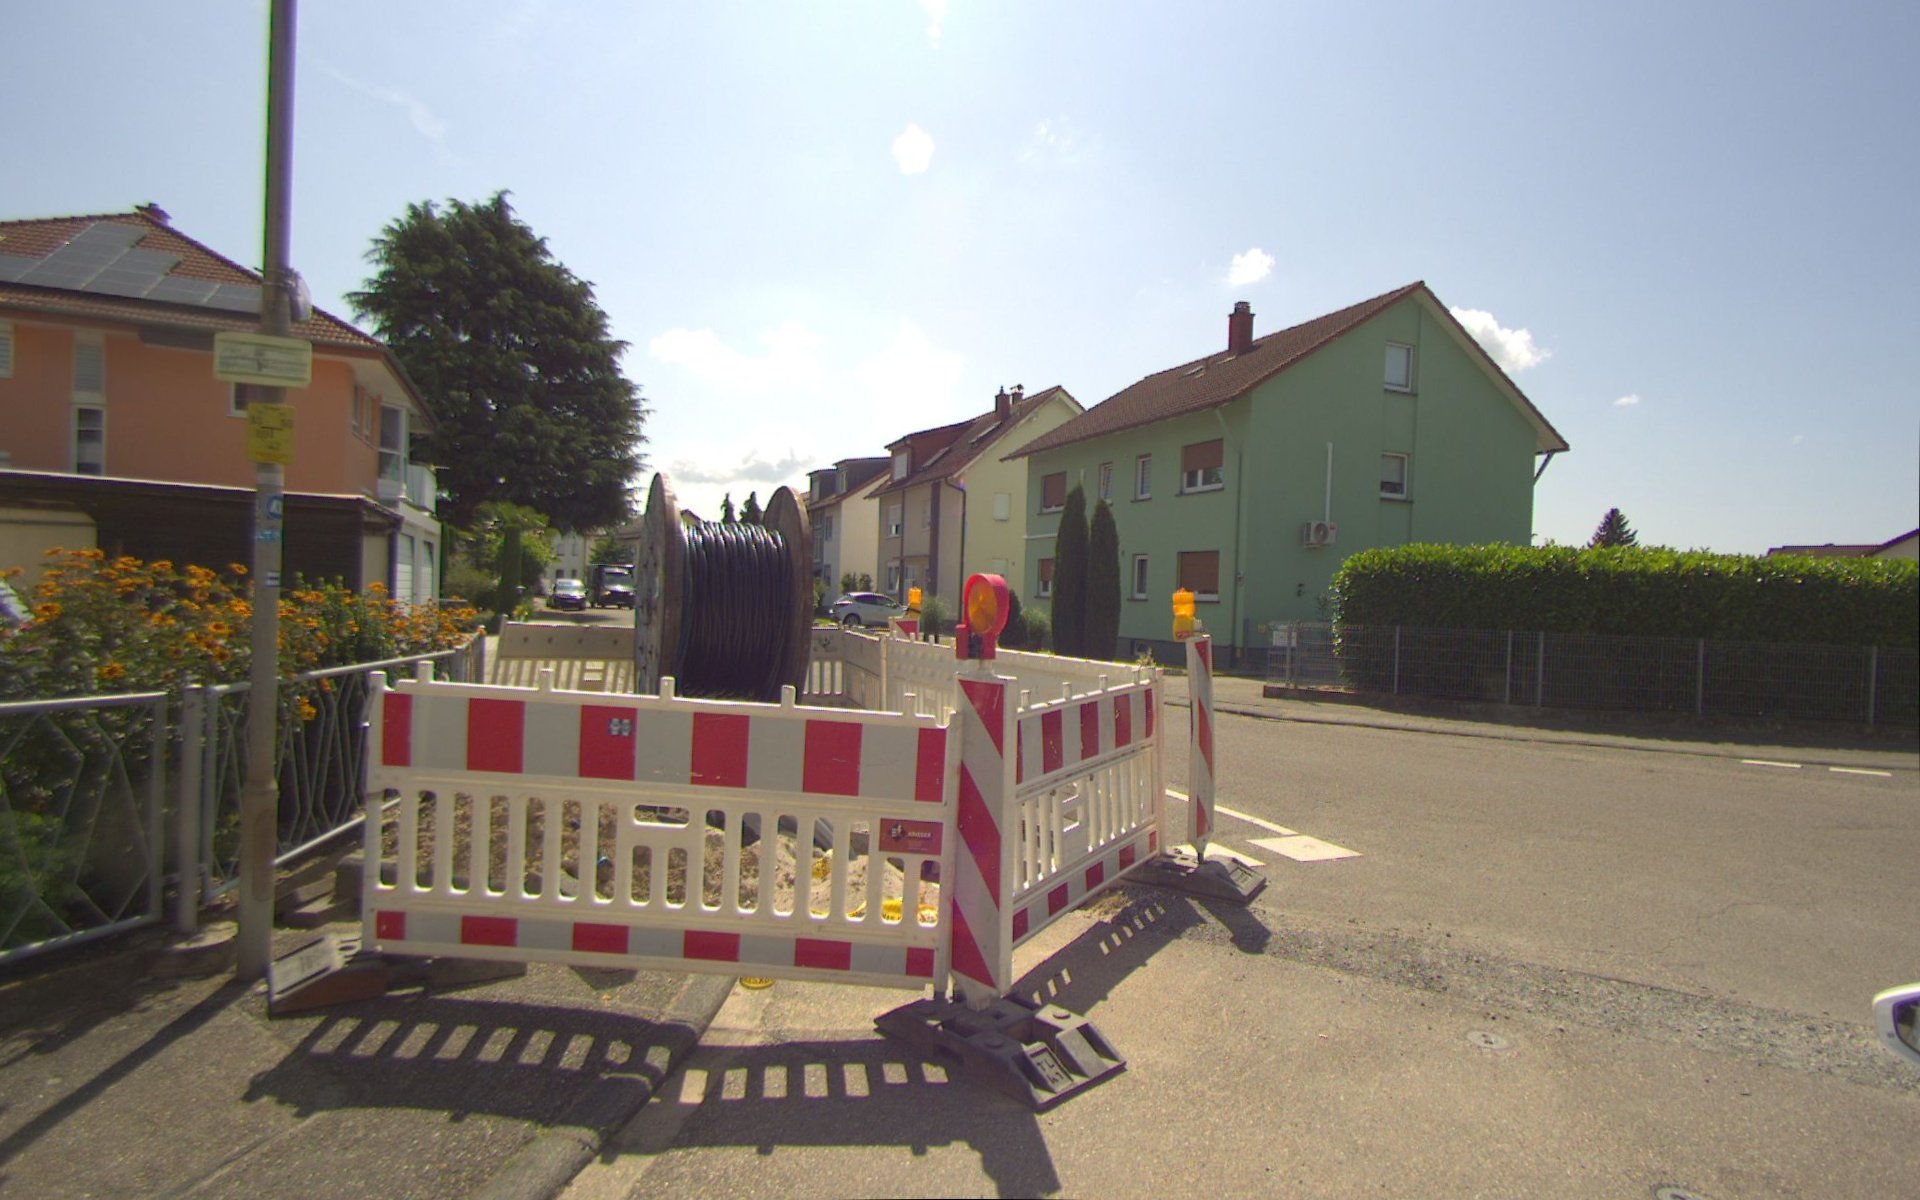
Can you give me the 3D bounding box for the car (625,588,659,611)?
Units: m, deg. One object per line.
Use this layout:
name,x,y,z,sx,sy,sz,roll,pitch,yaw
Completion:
car,-23.146,-0.040,73.060,1.790,1.515,3.973,2,0,-26

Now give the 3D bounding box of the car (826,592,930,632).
car,-3.364,0.484,41.065,3.870,1.530,1.764,1,1,-23

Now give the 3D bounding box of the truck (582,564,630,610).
truck,-23.006,-0.880,65.087,2.407,2.825,7.254,-1,1,-24

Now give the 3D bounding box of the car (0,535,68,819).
car,-5.615,0.383,3.424,1.760,1.505,4.464,2,0,-11

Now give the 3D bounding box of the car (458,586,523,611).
car,-33.992,-0.107,72.839,4.144,1.675,1.805,2,0,-21

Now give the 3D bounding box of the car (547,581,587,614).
car,-22.955,-0.190,58.603,1.790,1.786,4.178,2,0,-26

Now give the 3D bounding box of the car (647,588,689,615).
car,-17.914,0.078,61.499,1.790,1.515,3.973,2,0,-26
